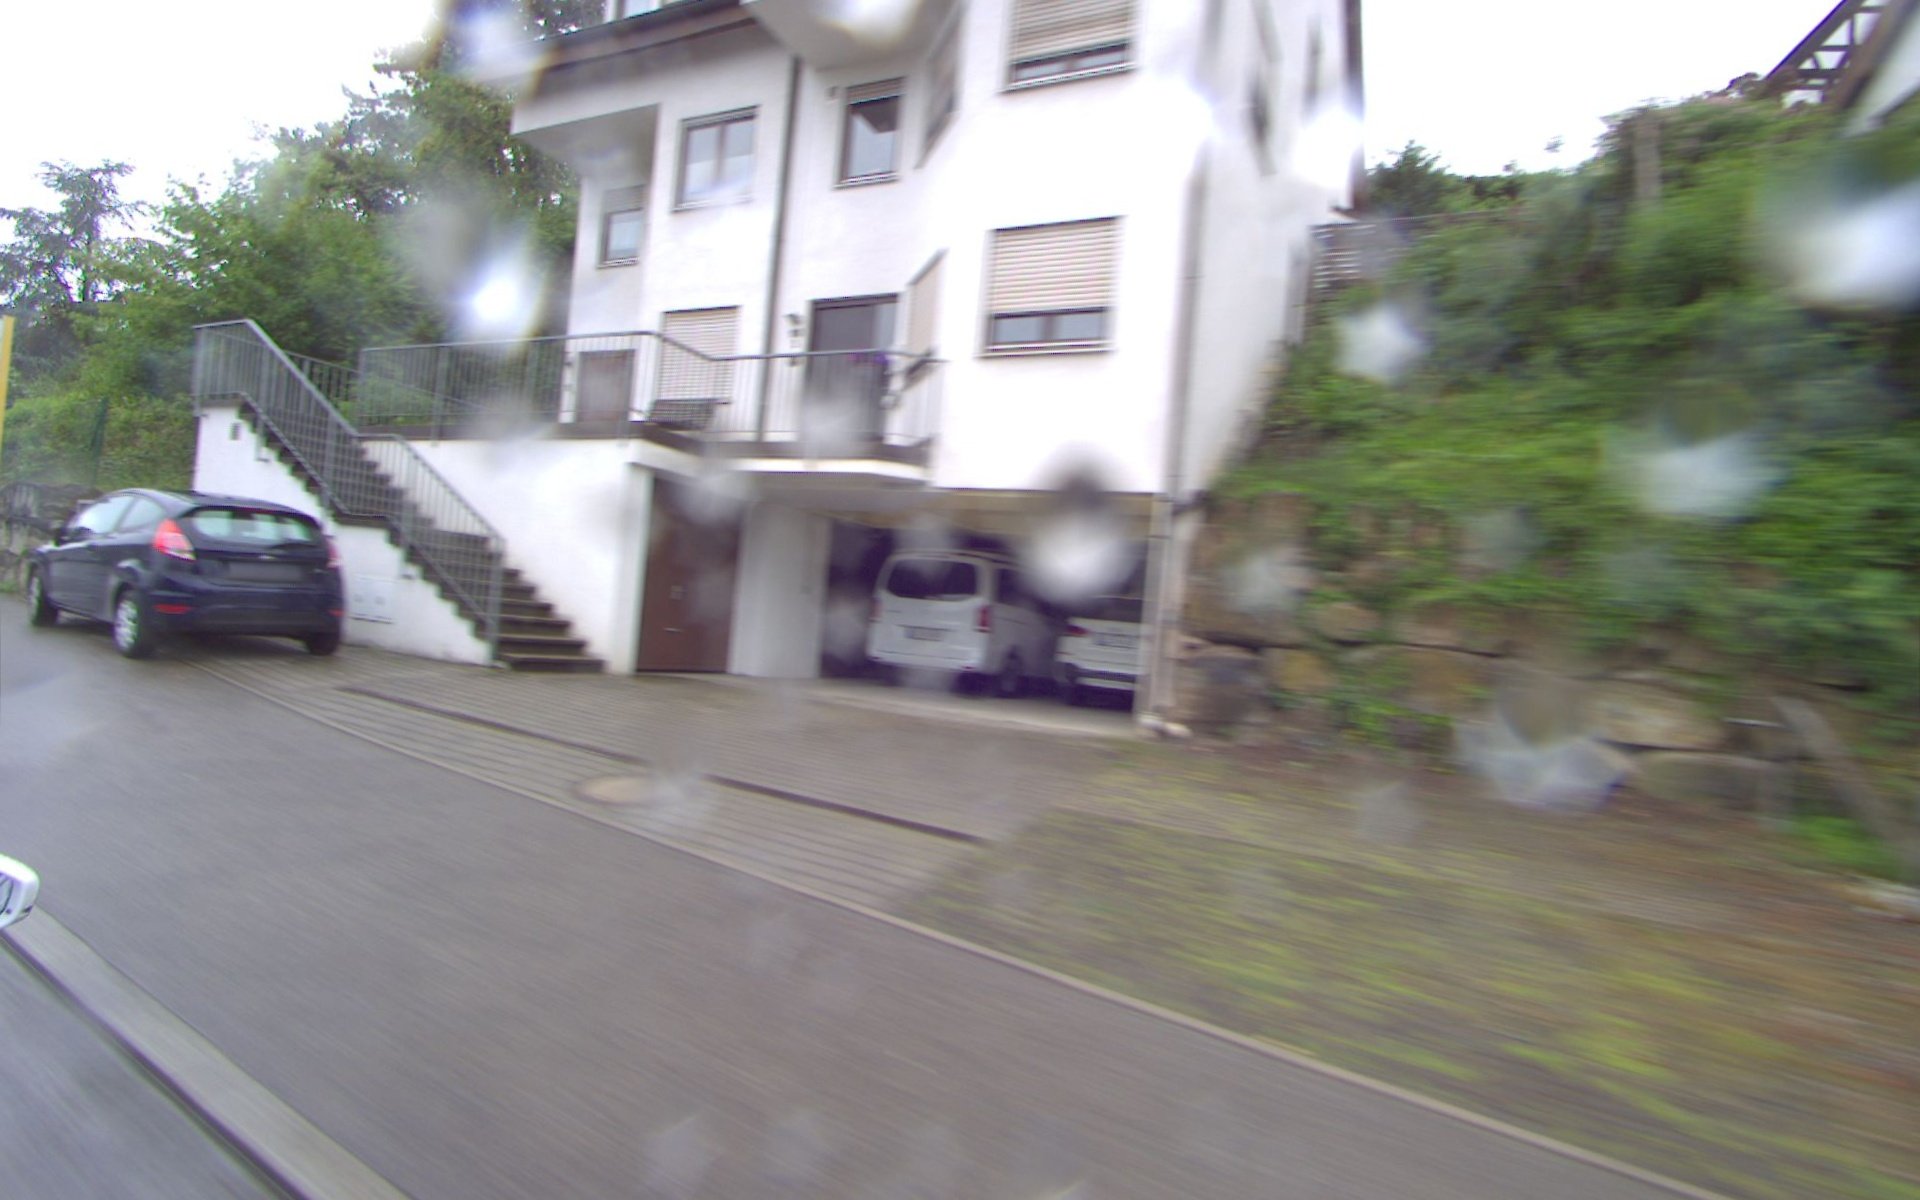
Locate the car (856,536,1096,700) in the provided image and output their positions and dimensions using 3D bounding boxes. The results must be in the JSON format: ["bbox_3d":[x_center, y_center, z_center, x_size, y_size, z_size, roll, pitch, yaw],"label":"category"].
[{"bbox_3d":[0.404,0.375,15.163,1.894,1.976,3.999,7,-2,26],"label":"car"}]

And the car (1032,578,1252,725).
[{"bbox_3d":[2.741,0.784,14.324,1.894,1.599,3.999,7,-2,26],"label":"car"}]

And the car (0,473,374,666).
[{"bbox_3d":[-7.730,-0.353,9.937,3.955,1.473,1.705,6,2,33],"label":"car"}]
